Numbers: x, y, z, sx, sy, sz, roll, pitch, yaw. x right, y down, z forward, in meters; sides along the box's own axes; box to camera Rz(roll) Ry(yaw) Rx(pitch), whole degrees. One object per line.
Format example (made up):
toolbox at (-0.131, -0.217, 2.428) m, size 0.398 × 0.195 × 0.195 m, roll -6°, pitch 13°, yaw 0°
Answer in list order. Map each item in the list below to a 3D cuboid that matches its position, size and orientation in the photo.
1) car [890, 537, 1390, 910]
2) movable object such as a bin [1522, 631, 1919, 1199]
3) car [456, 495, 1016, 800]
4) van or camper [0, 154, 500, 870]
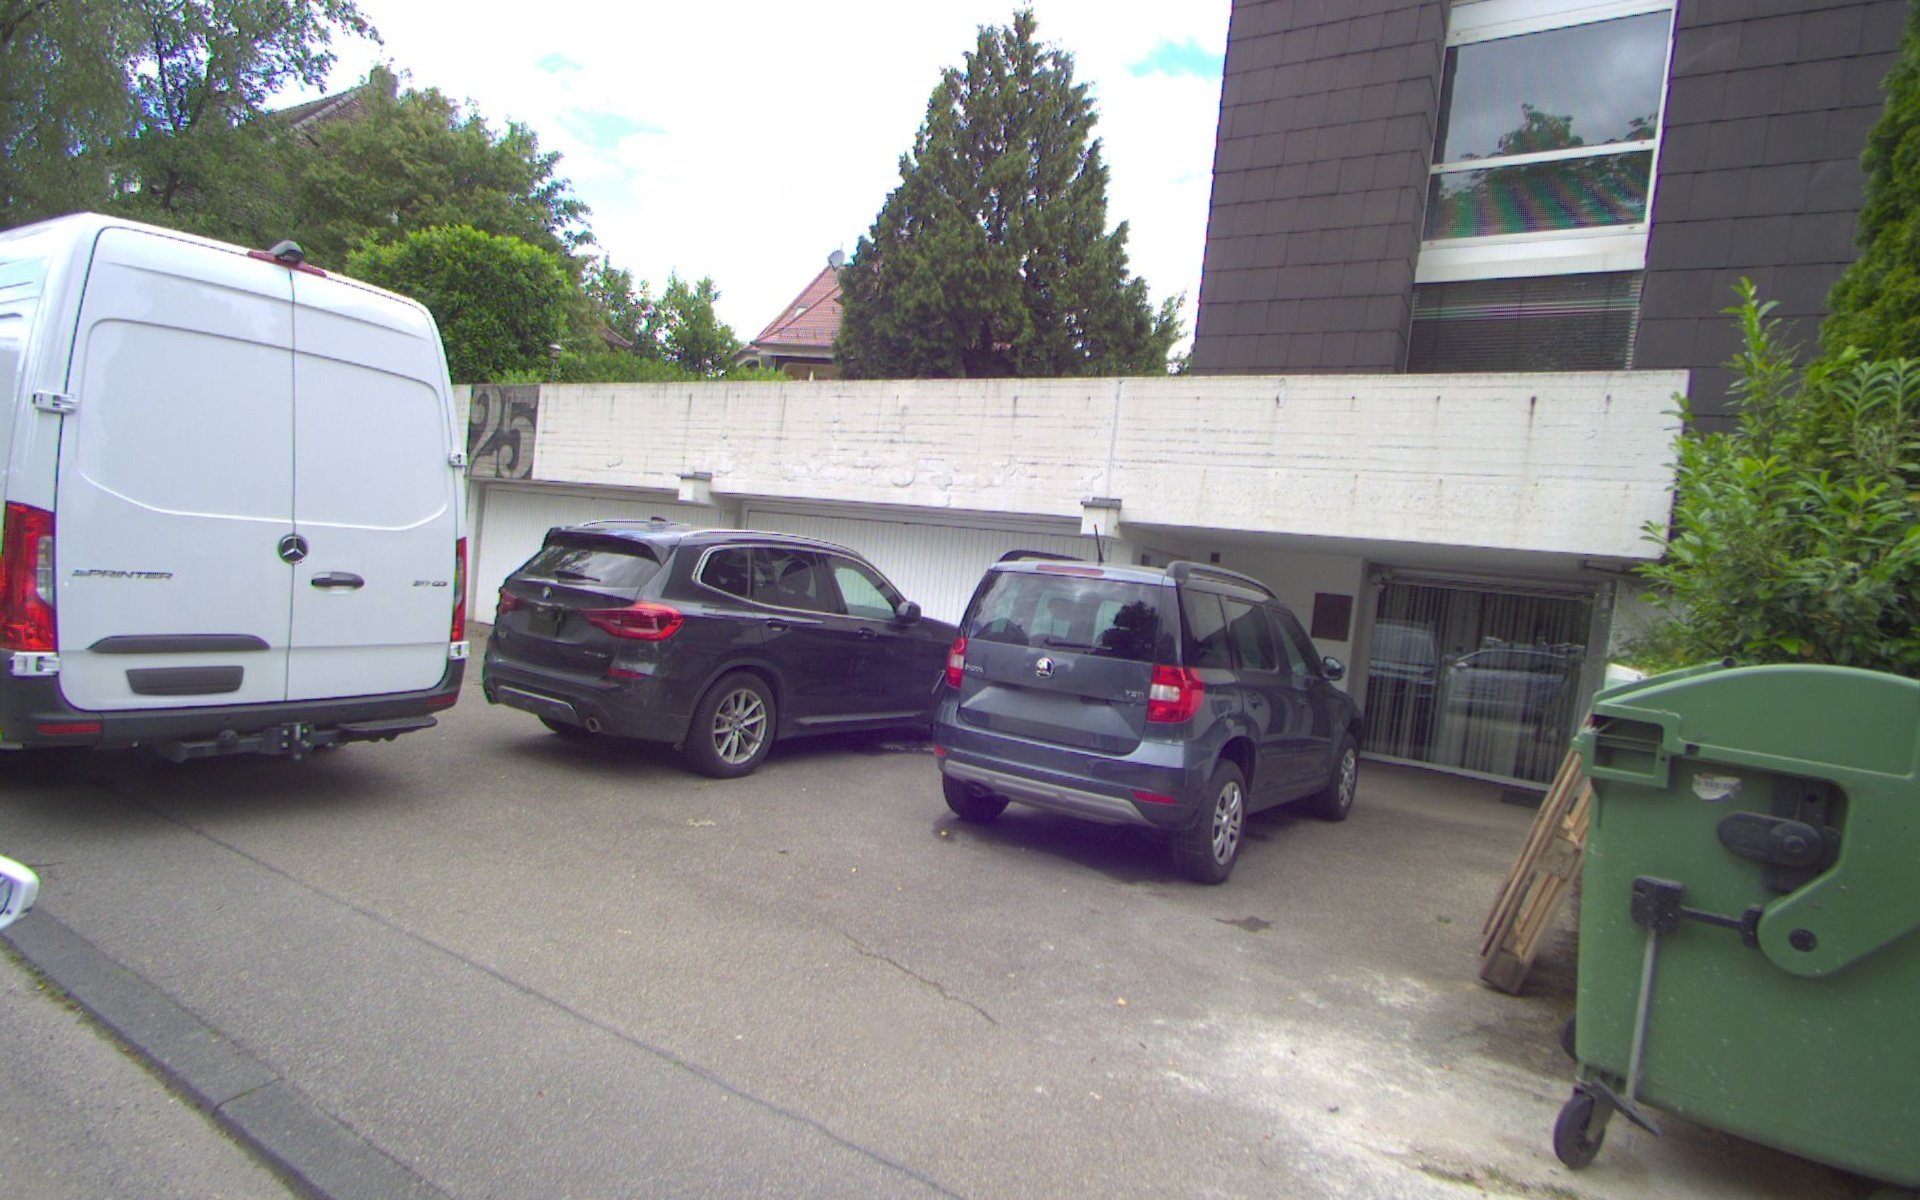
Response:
car at (1.482, 0.643, 6.804) m, size 1.717 × 1.673 × 3.899 m, roll 6°, pitch 1°, yaw 35°
movable object such as a bin at (2.407, 0.901, 2.984) m, size 1.098 × 1.469 × 1.405 m, roll 6°, pitch 1°, yaw 32°
car at (-1.408, 0.321, 8.043) m, size 1.668 × 1.696 × 4.383 m, roll 6°, pitch 1°, yaw 32°
van or camper at (-5.775, -0.583, 6.286) m, size 6.436 × 2.662 × 1.990 m, roll 6°, pitch 4°, yaw 32°
